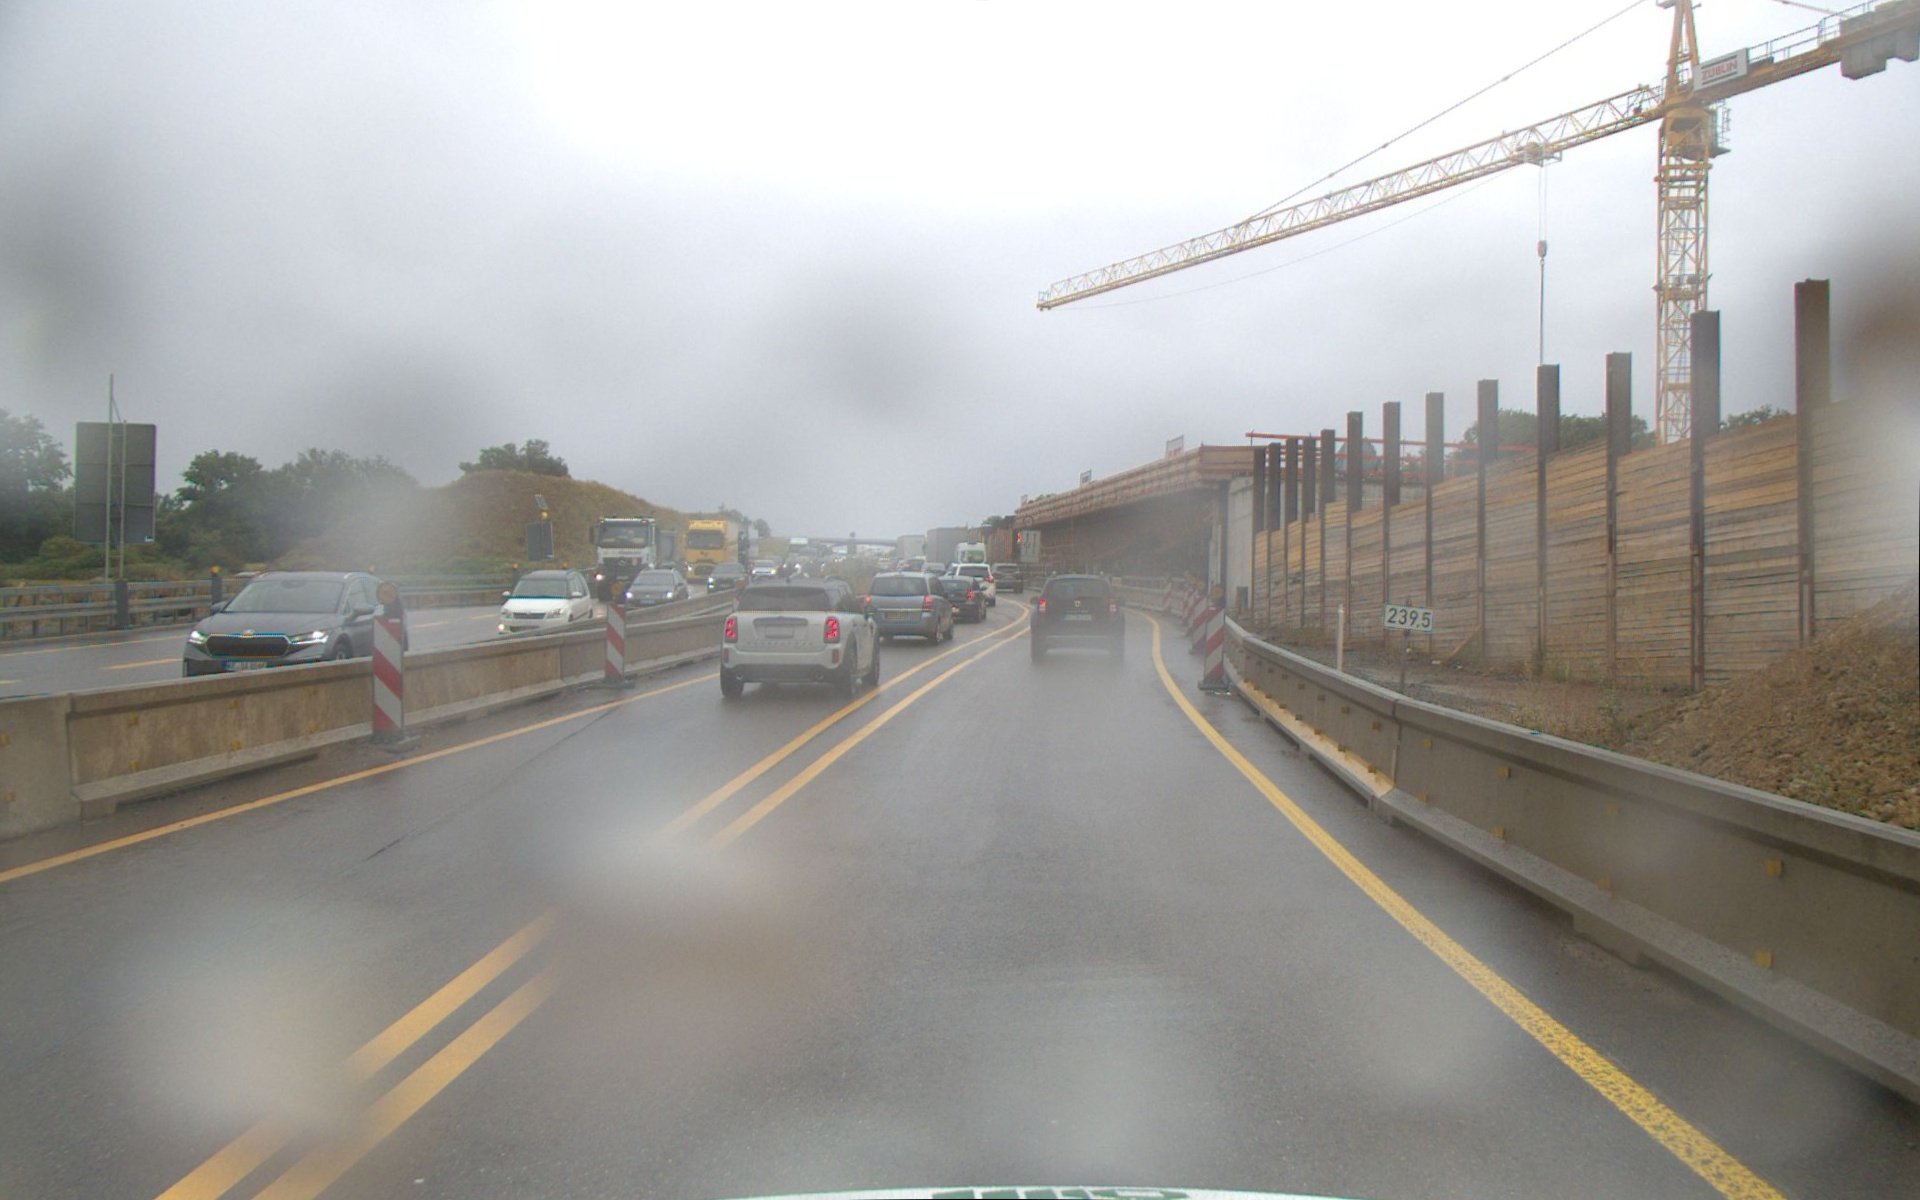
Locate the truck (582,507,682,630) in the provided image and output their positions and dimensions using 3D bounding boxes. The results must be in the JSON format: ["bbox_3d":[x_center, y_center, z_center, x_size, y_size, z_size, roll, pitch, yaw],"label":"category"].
[{"bbox_3d":[-14.221,-1.227,72.341,3.022,5.006,8.557,1,-1,-3],"label":"truck"}]

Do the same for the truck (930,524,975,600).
[{"bbox_3d":[-0.523,-2.949,133.489,3.036,5.522,9.445,0,-3,3],"label":"truck"}]

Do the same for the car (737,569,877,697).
[{"bbox_3d":[-2.164,0.503,23.411,1.780,1.629,4.302,0,-2,-5],"label":"car"}]

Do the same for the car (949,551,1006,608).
[{"bbox_3d":[0.669,-0.804,66.553,1.955,2.049,3.888,0,-3,-5],"label":"car"}]

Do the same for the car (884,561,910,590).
[{"bbox_3d":[-5.257,-2.034,137.642,1.952,2.201,4.140,0,-3,1],"label":"car"}]

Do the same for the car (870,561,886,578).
[{"bbox_3d":[-10.476,-3.830,210.626,1.954,2.049,3.996,0,-1,-5],"label":"car"}]

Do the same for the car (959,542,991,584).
[{"bbox_3d":[1.011,-2.507,113.713,1.953,2.528,4.978,0,-3,-2],"label":"car"}]

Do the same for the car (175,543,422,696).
[{"bbox_3d":[-8.724,0.336,22.244,1.750,1.842,4.494,0,-3,-4],"label":"car"}]

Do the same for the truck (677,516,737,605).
[{"bbox_3d":[-16.718,-2.517,109.739,3.079,5.513,8.516,1,-1,-3],"label":"truck"}]

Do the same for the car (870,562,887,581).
[{"bbox_3d":[-9.393,-3.274,190.386,1.813,1.927,4.018,0,-3,-3],"label":"car"}]

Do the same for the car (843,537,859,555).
[{"bbox_3d":[-14.434,-7.126,219.152,1.954,2.049,3.995,0,-3,-5],"label":"car"}]

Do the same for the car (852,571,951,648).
[{"bbox_3d":[-1.304,0.268,38.480,1.952,1.629,4.141,0,-3,3],"label":"car"}]

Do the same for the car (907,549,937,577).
[{"bbox_3d":[-2.798,-2.706,121.424,1.955,1.792,3.810,0,-3,-5],"label":"car"}]

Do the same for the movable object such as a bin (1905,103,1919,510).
[{"bbox_3d":[27.721,-8.235,40.362,4.617,11.034,10.310,0,-3,10],"label":"movable object such as a bin"}]

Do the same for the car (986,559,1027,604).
[{"bbox_3d":[2.495,-0.994,90.151,1.953,2.201,4.137,0,-3,-2],"label":"car"}]

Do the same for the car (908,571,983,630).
[{"bbox_3d":[-0.496,0.042,51.368,1.955,1.629,4.134,0,-3,-6],"label":"car"}]

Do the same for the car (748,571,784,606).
[{"bbox_3d":[-13.735,-0.797,117.366,2.194,2.400,4.873,1,-1,-3],"label":"car"}]

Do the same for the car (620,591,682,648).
[{"bbox_3d":[-10.546,0.694,56.612,1.590,1.842,3.634,0,-3,-3],"label":"car"}]

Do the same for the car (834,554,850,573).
[{"bbox_3d":[-14.593,-4.479,204.830,1.954,2.049,3.995,0,-3,-5],"label":"car"}]

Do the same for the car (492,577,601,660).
[{"bbox_3d":[-9.819,0.498,39.600,1.750,1.842,4.494,0,-3,-4],"label":"car"}]

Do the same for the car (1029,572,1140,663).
[{"bbox_3d":[2.369,0.402,32.466,2.038,1.629,4.141,0,-3,2],"label":"car"}]

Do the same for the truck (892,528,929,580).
[{"bbox_3d":[-5.914,-5.370,195.580,3.729,5.132,12.905,0,-3,-5],"label":"truck"}]

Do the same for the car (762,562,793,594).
[{"bbox_3d":[-14.785,-1.760,134.121,2.173,2.412,4.660,1,-1,-3],"label":"car"}]
